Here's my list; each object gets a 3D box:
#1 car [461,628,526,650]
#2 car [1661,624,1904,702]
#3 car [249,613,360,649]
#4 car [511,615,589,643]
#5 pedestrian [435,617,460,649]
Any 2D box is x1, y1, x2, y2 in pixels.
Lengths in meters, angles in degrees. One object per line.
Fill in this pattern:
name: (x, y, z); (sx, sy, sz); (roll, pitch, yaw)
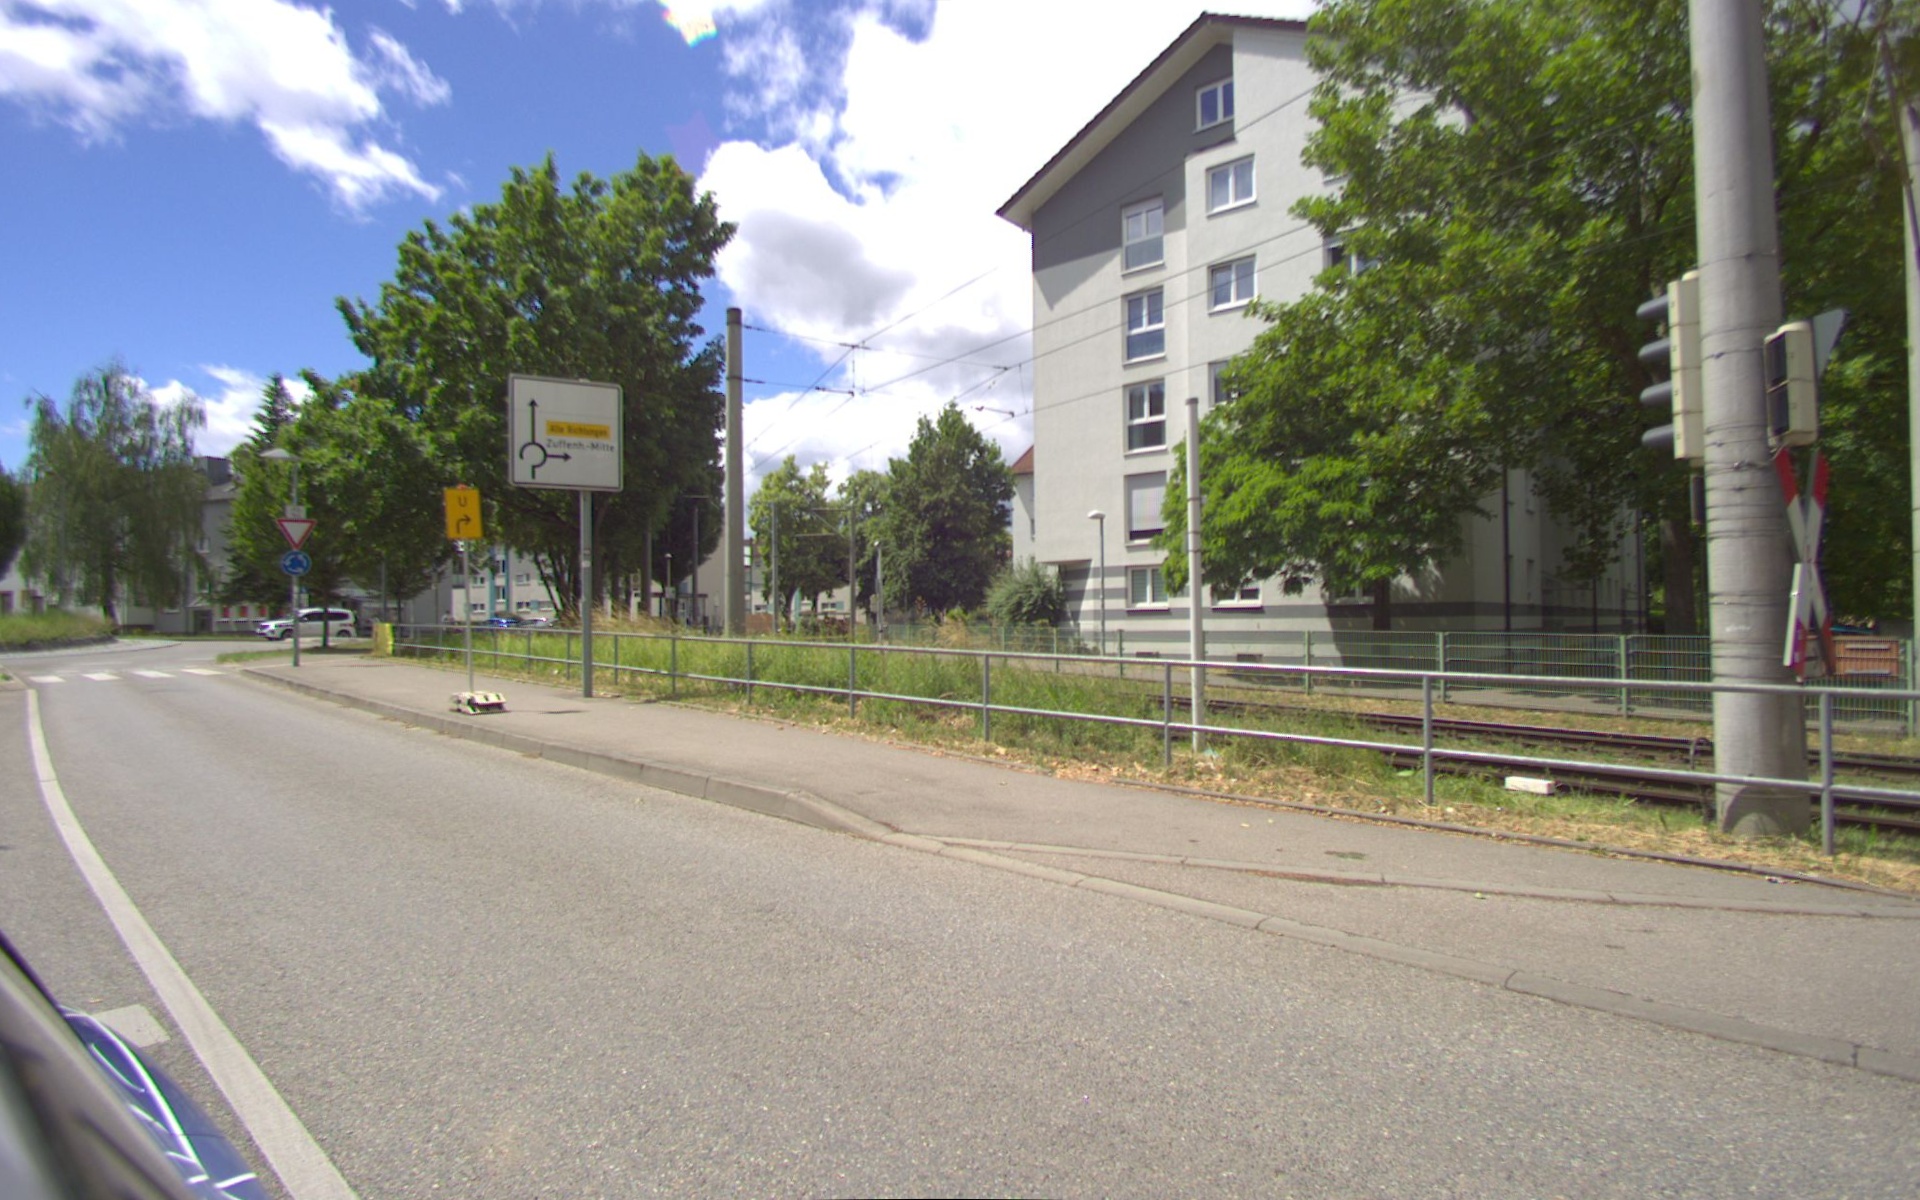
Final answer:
car: (-33.200, 2.759, 72.032); (4.093, 1.534, 1.797); (-1, -2, 21)
car: (18.417, 1.364, 22.952); (4.101, 1.567, 1.839); (0, -1, 35)
car: (-34.863, 1.635, 53.935); (1.994, 1.810, 4.566); (-1, -2, 33)
car: (-27.447, 1.908, 67.860); (1.993, 1.810, 4.569); (-1, -2, 31)
pedestrian: (-27.768, 1.783, 54.838); (1.022, 1.677, 0.864); (-1, -2, 41)
